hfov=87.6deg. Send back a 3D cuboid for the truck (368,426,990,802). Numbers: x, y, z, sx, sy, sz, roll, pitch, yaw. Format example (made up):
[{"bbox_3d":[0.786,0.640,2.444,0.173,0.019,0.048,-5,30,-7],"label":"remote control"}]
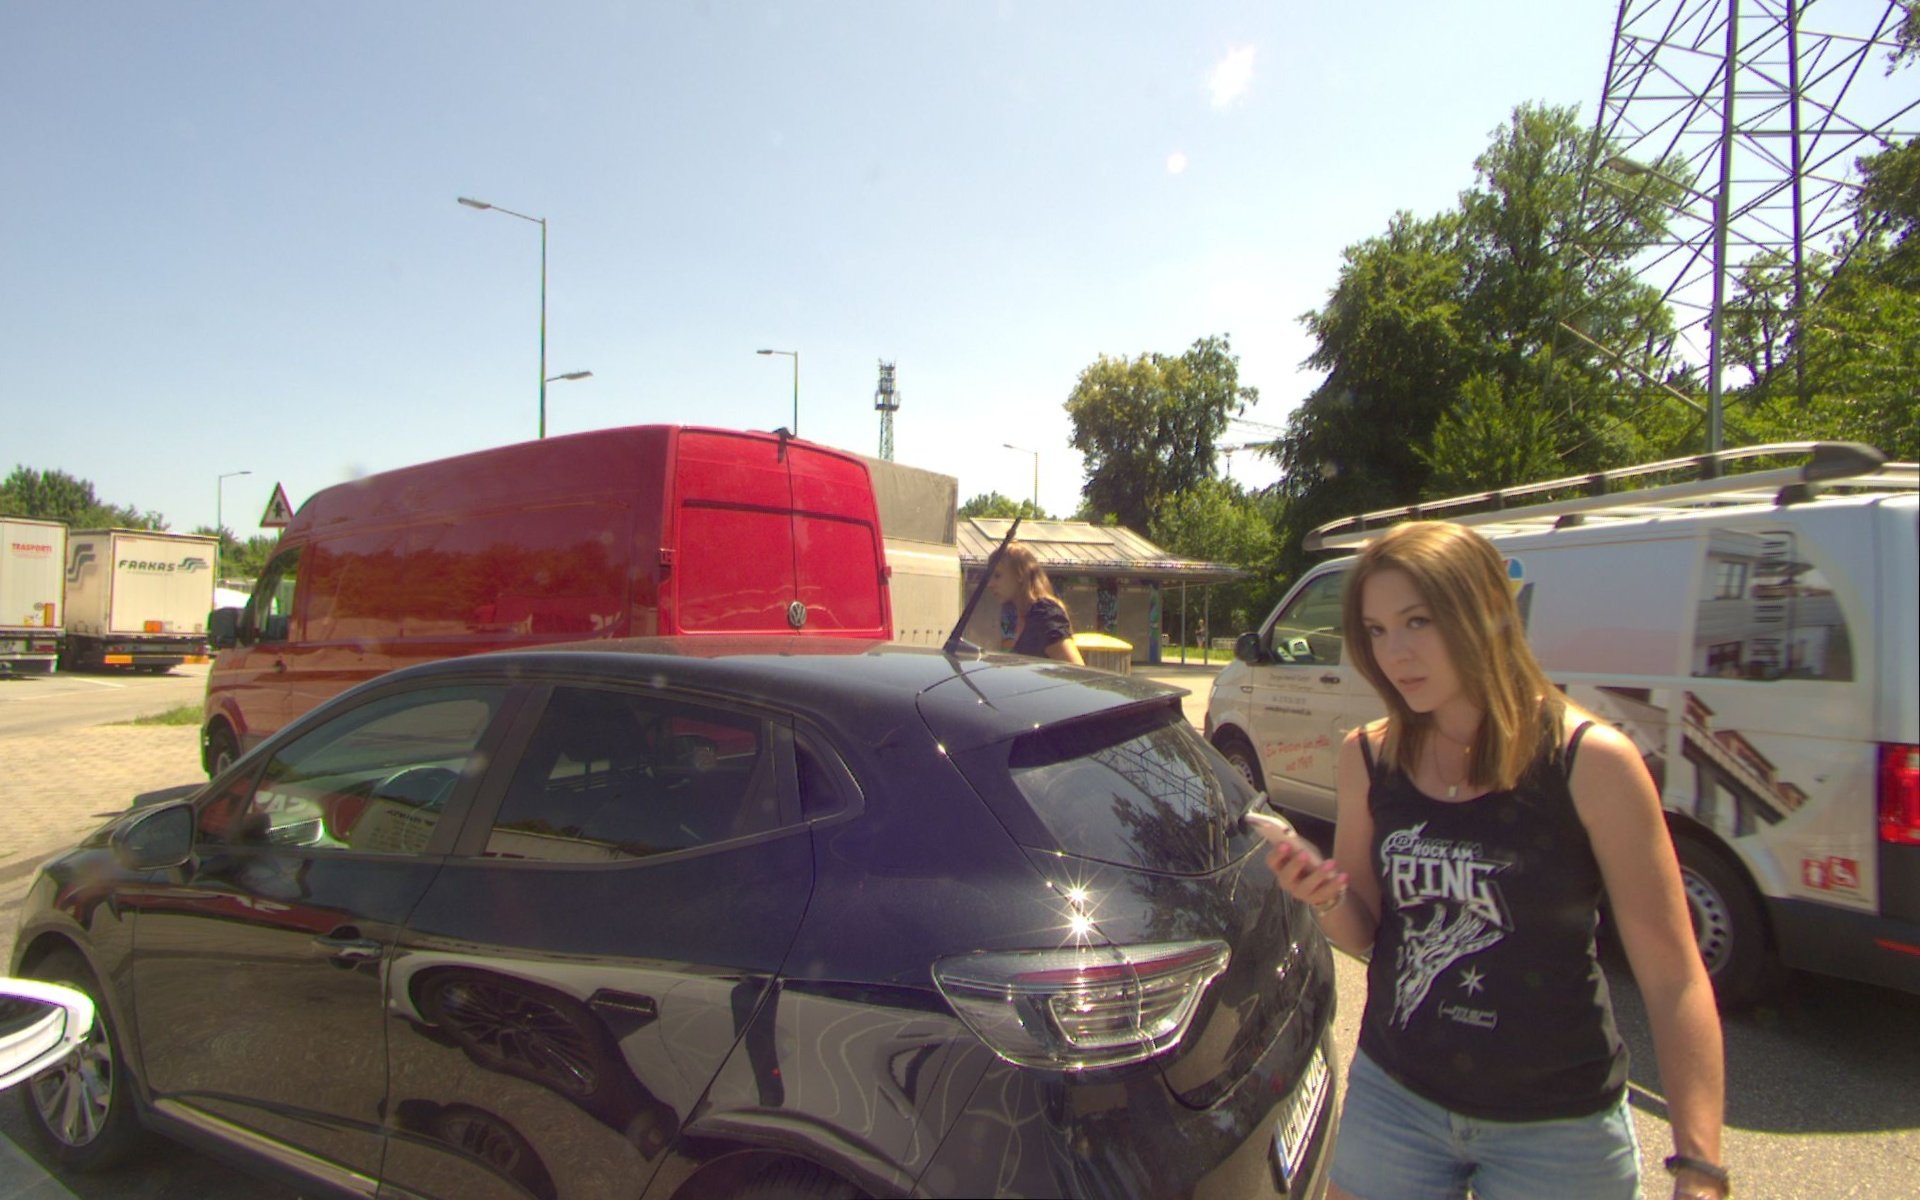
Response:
[{"bbox_3d":[-3.240,0.135,10.519,6.874,2.828,2.460,0,-1,35],"label":"truck"}]

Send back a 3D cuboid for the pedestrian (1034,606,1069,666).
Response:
[{"bbox_3d":[2.491,0.979,27.333,0.752,1.629,0.755,1,0,-13],"label":"pedestrian"}]

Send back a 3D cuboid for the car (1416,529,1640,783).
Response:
[{"bbox_3d":[6.561,0.571,11.517,1.892,2.354,4.074,-1,-1,32],"label":"car"}]

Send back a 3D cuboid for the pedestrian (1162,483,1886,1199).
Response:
[{"bbox_3d":[0.693,0.714,1.288,0.646,1.606,0.644,1,-1,37],"label":"pedestrian"}]

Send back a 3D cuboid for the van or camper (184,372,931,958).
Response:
[{"bbox_3d":[-3.345,0.326,7.313,6.394,2.688,1.990,0,-1,36],"label":"van or camper"}]

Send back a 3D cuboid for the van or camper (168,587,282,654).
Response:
[{"bbox_3d":[-30.386,0.828,41.350,5.296,2.595,2.100,0,-1,34],"label":"van or camper"}]

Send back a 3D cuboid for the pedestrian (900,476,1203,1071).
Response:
[{"bbox_3d":[0.308,0.569,3.772,0.762,1.896,0.913,1,-1,-25],"label":"pedestrian"}]

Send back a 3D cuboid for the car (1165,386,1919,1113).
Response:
[{"bbox_3d":[3.231,0.495,5.668,1.964,2.178,5.306,0,-1,-14],"label":"car"}]

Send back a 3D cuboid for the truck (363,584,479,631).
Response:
[{"bbox_3d":[-34.694,0.479,64.243,9.637,2.857,2.121,0,-1,33],"label":"truck"}]

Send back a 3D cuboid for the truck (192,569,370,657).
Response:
[{"bbox_3d":[-31.667,0.515,46.440,11.255,3.615,2.484,2,-1,33],"label":"truck"}]

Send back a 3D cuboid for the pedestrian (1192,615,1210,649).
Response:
[{"bbox_3d":[11.012,1.443,45.756,0.577,1.536,0.592,1,0,-9],"label":"pedestrian"}]

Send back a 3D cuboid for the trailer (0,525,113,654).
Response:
[{"bbox_3d":[-32.594,-0.351,34.853,6.474,4.090,2.862,2,-1,33],"label":"trailer"}]

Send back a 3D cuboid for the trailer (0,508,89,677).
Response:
[{"bbox_3d":[-28.331,-0.325,27.763,12.255,4.090,2.862,2,-1,33],"label":"trailer"}]

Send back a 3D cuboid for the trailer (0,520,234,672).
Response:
[{"bbox_3d":[-27.270,-0.194,31.428,12.255,4.090,2.862,2,-1,33],"label":"trailer"}]

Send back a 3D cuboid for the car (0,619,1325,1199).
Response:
[{"bbox_3d":[-1.040,0.836,2.805,3.706,1.503,1.615,0,-1,27],"label":"car"}]
